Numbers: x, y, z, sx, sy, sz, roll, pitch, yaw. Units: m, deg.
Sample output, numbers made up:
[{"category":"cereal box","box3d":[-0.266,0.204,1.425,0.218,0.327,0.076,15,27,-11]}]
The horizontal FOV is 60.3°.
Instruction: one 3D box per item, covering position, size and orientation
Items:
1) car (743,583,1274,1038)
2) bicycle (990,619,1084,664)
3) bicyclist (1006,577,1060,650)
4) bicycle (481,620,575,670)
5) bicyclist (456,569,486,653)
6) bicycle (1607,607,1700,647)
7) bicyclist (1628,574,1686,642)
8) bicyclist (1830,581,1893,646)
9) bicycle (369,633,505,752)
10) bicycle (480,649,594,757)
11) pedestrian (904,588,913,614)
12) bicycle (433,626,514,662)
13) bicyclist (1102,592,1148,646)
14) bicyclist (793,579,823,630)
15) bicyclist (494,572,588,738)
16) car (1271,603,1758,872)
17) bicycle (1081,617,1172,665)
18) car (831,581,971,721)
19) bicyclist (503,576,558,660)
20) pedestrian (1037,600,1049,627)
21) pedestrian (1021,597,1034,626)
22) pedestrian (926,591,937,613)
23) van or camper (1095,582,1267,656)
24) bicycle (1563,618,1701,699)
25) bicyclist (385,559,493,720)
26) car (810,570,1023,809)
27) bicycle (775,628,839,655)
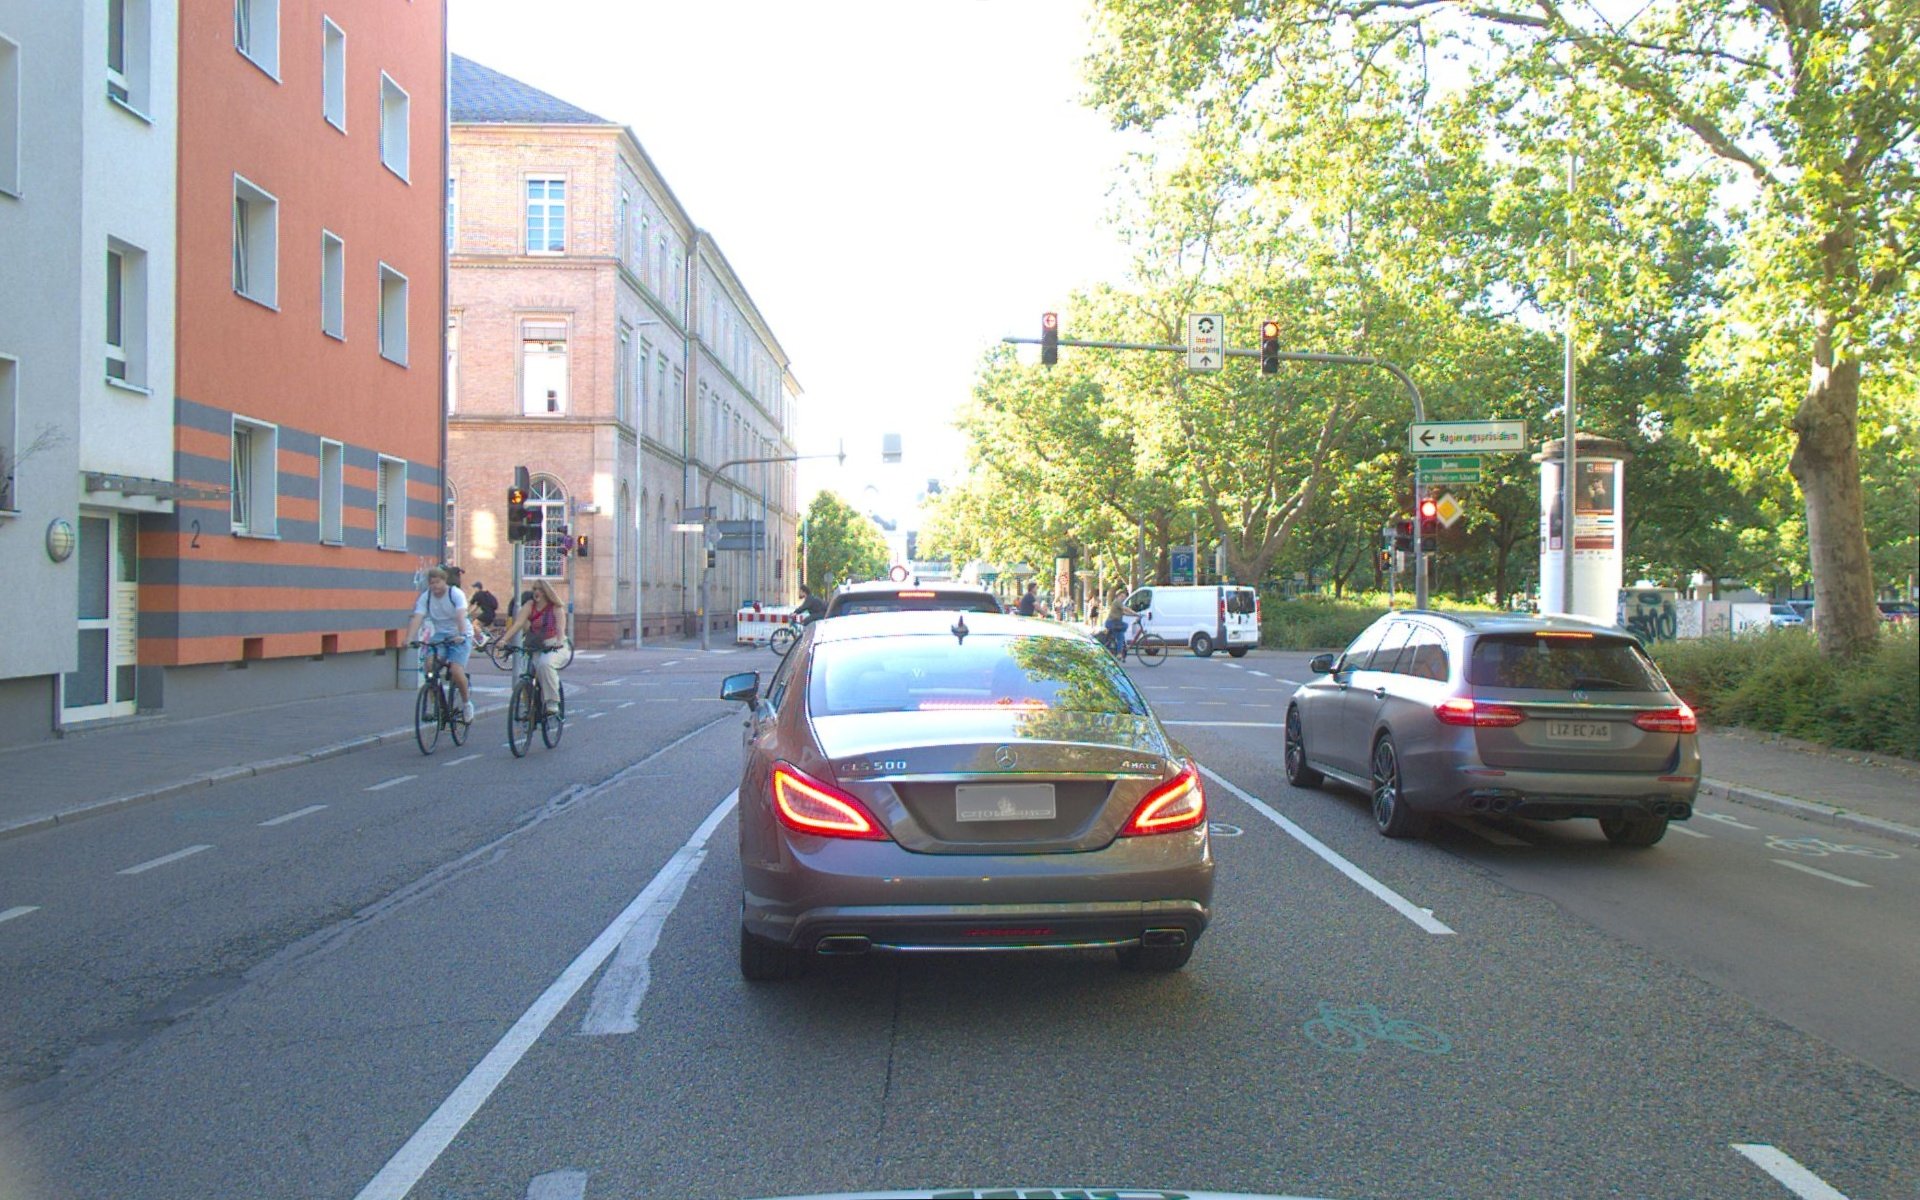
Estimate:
[{"category":"car","box3d":[-0.100,0.683,7.668,1.769,1.482,4.343,1,0,-8]},{"category":"bicycle","box3d":[1.631,0.885,35.119,1.946,0.919,0.733,0,0,-2]},{"category":"bicyclist","box3d":[1.546,0.278,35.115,1.094,1.516,0.711,0,0,-3]},{"category":"bicycle","box3d":[-8.767,0.910,33.625,1.760,0.963,0.613,1,0,-7]},{"category":"bicyclist","box3d":[-12.024,0.263,40.641,0.640,2.049,0.439,0,0,-8]},{"category":"bicycle","box3d":[16.032,0.619,38.264,1.853,0.898,0.726,1,0,3]},{"category":"bicyclist","box3d":[16.113,0.187,38.264,1.052,1.546,0.717,0,0,4]},{"category":"bicyclist","box3d":[20.273,0.299,37.206,1.080,1.427,0.658,0,0,4]},{"category":"bicycle","box3d":[-5.283,0.908,16.829,0.845,1.097,1.836,1,0,-2]},{"category":"bicycle","box3d":[-4.163,0.992,16.392,0.679,0.945,1.863,0,0,-1]},{"category":"pedestrian","box3d":[-3.966,0.075,127.682,0.706,1.935,0.704,1,0,-1]},{"category":"bicycle","box3d":[-11.960,1.080,40.654,1.856,0.851,0.457,0,0,-9]},{"category":"bicyclist","box3d":[3.631,0.417,36.465,0.971,1.174,0.620,0,0,1]},{"category":"bicyclist","box3d":[-3.819,0.115,41.699,0.689,1.282,0.458,0,0,2]},{"category":"bicyclist","box3d":[-4.160,0.529,16.484,0.671,1.605,0.982,0,0,0]},{"category":"car","box3d":[3.690,0.810,12.015,1.874,1.490,4.668,2,0,-1]},{"category":"bicycle","box3d":[3.664,0.900,36.456,1.939,1.045,0.652,0,0,1]},{"category":"car","box3d":[-0.782,0.646,23.231,1.783,1.793,3.999,0,0,-1]},{"category":"bicyclist","box3d":[-8.726,0.367,33.636,0.995,1.671,0.607,1,0,-7]},{"category":"pedestrian","box3d":[4.434,0.730,88.399,0.635,1.458,0.659,0,0,-1]},{"category":"pedestrian","box3d":[3.622,0.606,88.785,0.635,1.529,0.637,0,0,-1]},{"category":"pedestrian","box3d":[-2.116,0.164,121.351,0.785,1.604,0.844,1,0,-1]},{"category":"van or camper","box3d":[6.171,0.487,46.485,4.516,1.975,1.986,1,0,44]},{"category":"bicycle","box3d":[9.616,0.831,23.696,1.766,1.116,0.510,0,0,2]},{"category":"bicyclist","box3d":[-5.262,0.393,16.740,0.825,1.582,0.839,0,0,-2]},{"category":"car","box3d":[-0.402,0.632,13.667,1.487,1.675,3.878,1,0,-3]},{"category":"bicycle","box3d":[-3.856,1.040,41.694,1.554,0.646,0.496,0,0,3]}]
